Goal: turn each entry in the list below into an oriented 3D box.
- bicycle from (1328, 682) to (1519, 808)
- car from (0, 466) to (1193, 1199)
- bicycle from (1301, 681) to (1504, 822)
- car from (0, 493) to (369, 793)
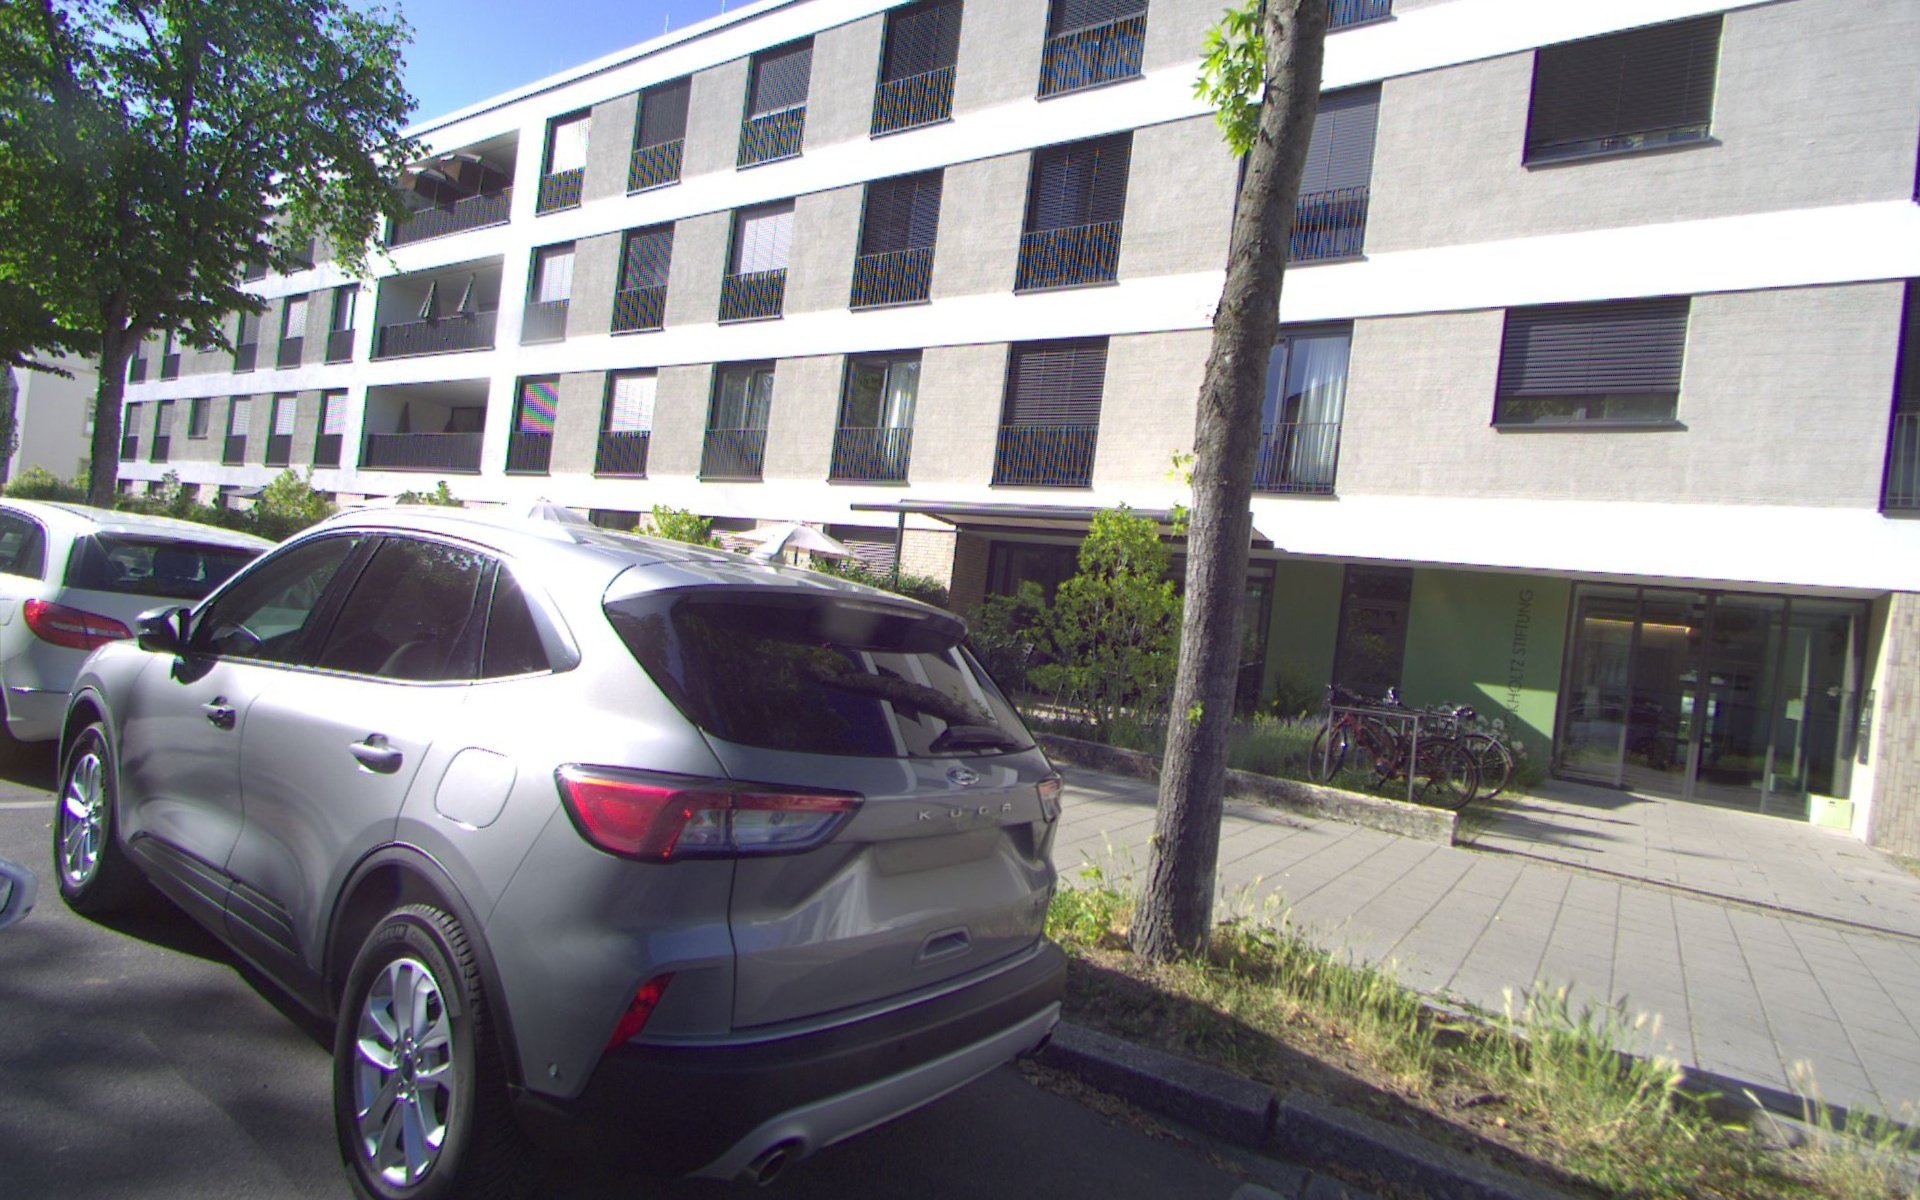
[{"bbox_3d":[5.041,1.540,10.994,1.751,1.068,0.546,6,1,33],"label":"bicycle"},{"bbox_3d":[-1.657,0.542,3.580,4.343,1.650,1.849,6,-2,37],"label":"car"},{"bbox_3d":[4.306,1.434,9.849,1.664,1.068,0.546,6,1,33],"label":"bicycle"},{"bbox_3d":[-6.111,0.126,6.966,3.933,1.542,1.697,6,-1,31],"label":"car"}]
